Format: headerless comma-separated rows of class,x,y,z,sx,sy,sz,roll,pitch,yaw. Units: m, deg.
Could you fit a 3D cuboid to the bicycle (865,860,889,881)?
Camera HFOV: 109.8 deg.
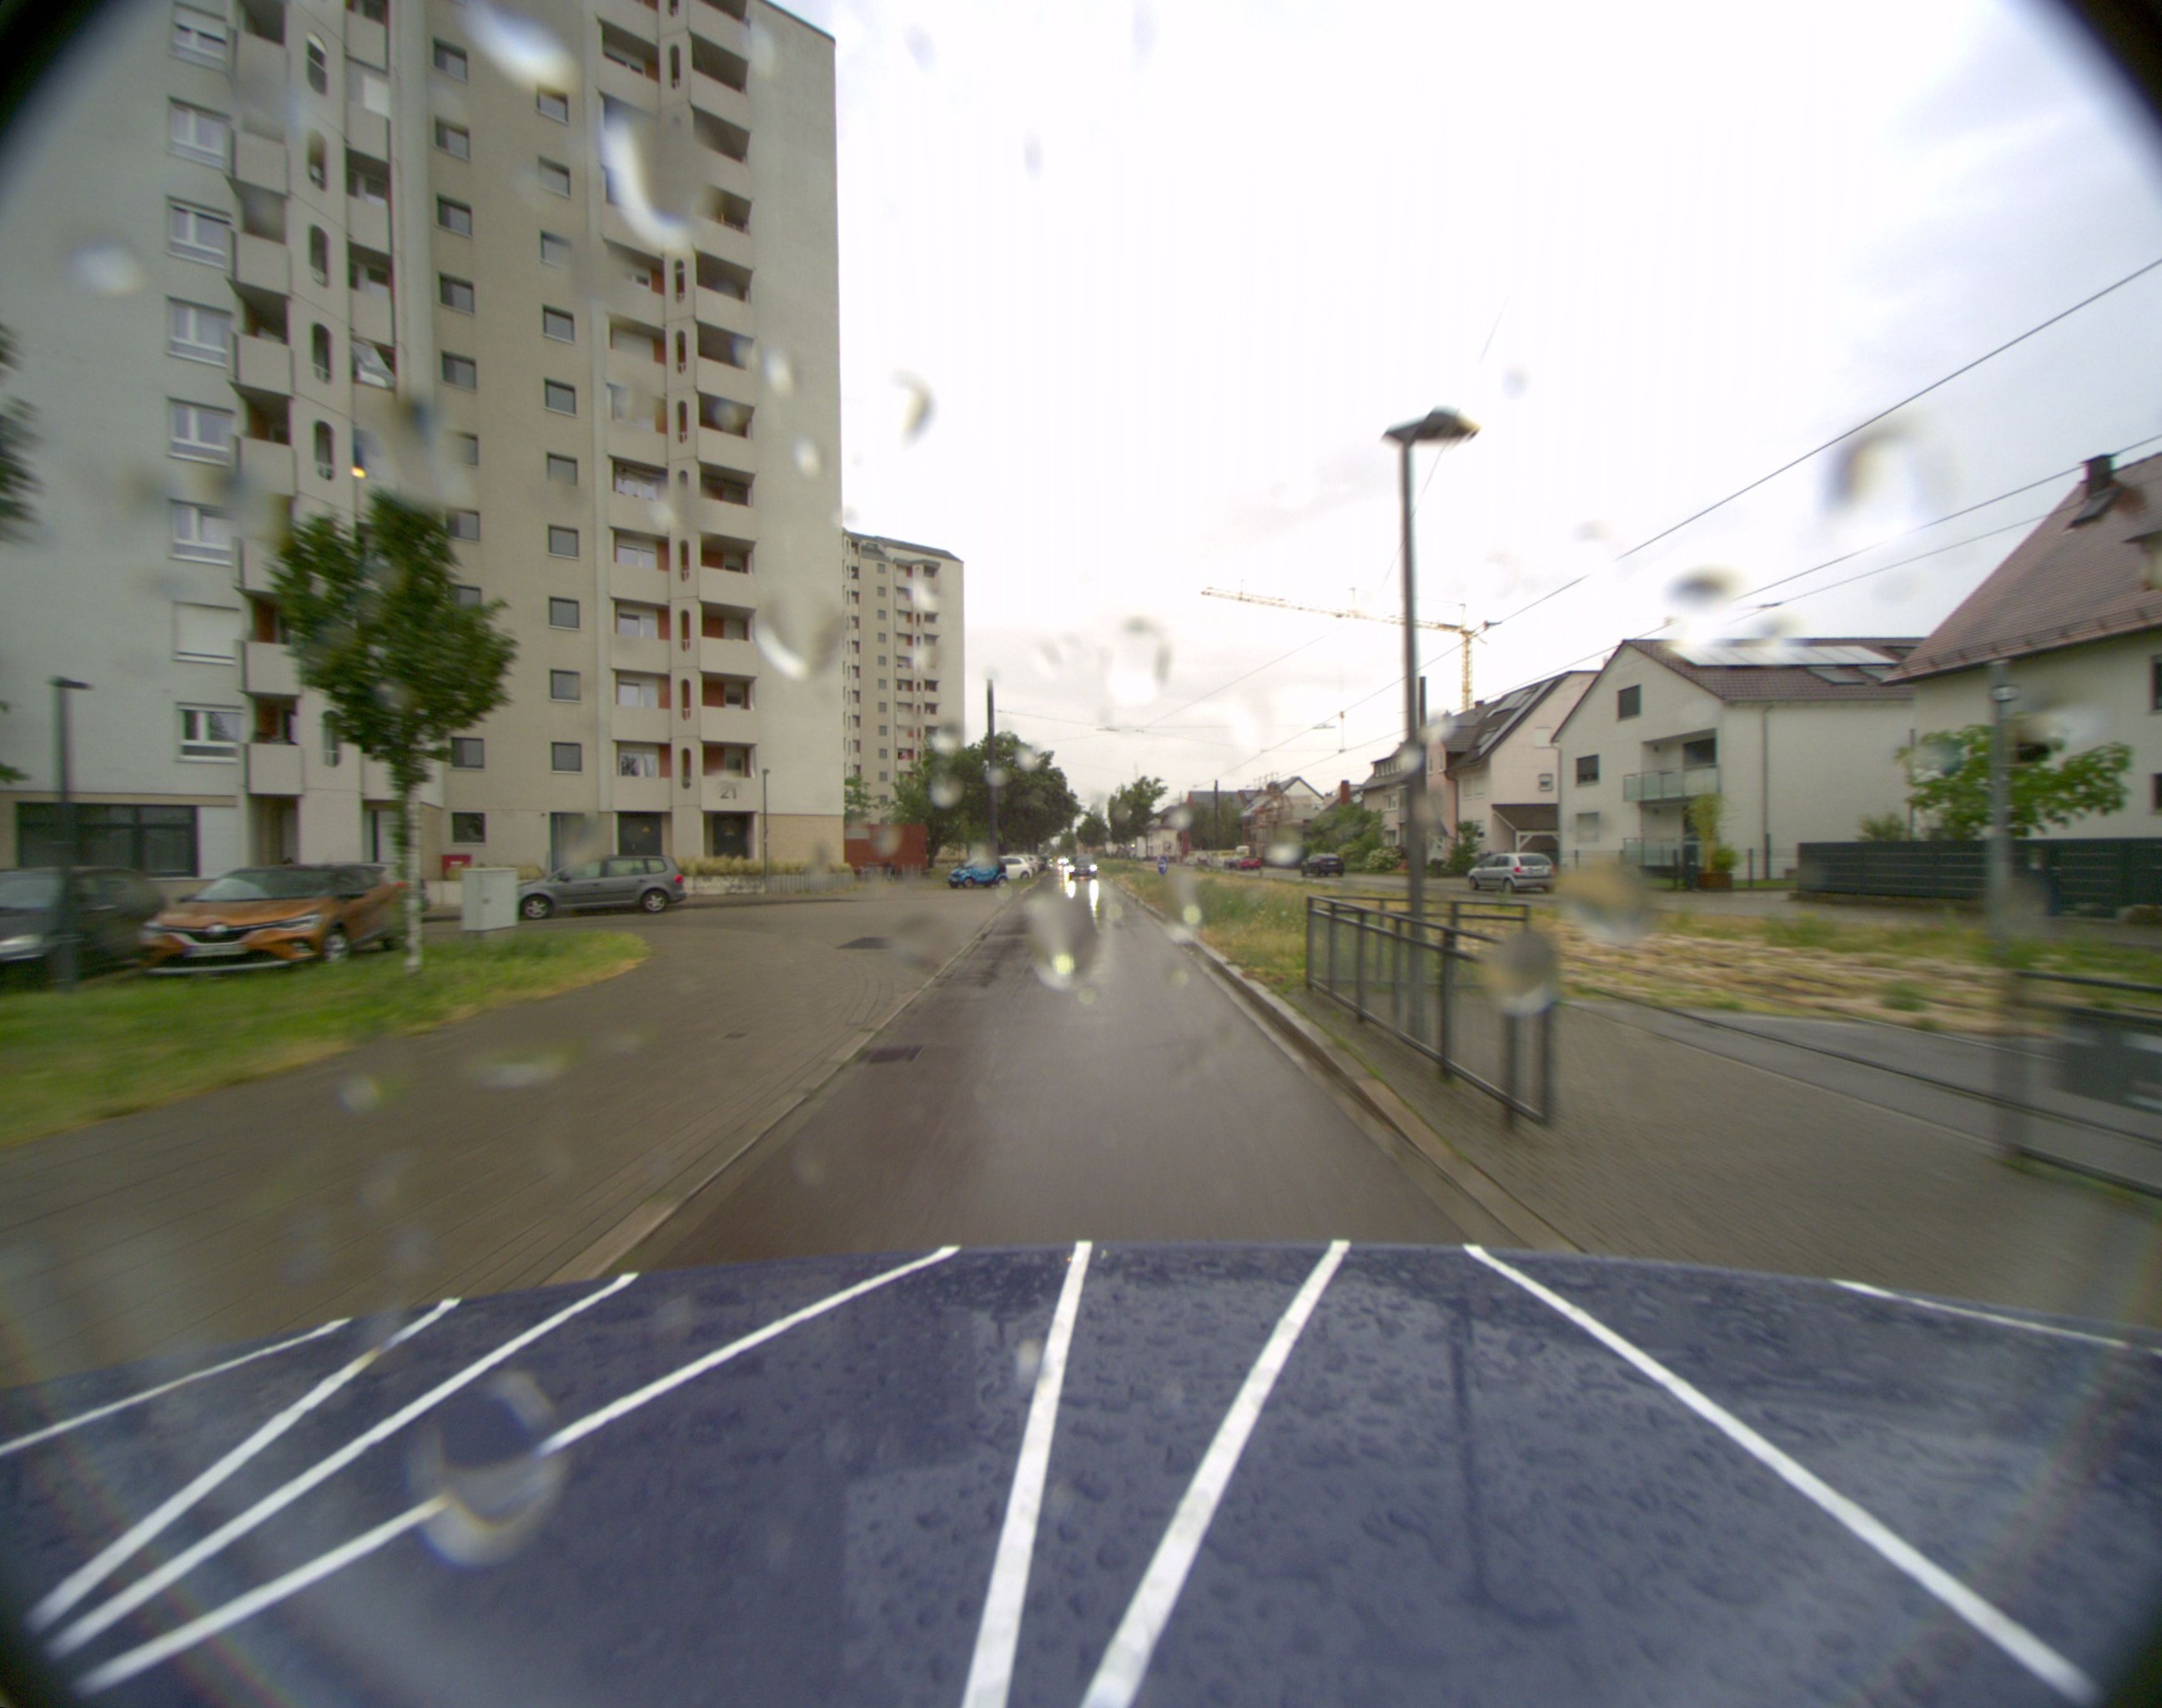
bicycle,-10.826,0.848,40.380,0.663,1.000,2.057,-2,1,0

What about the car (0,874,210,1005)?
car,-14.565,1.099,10.460,2.003,1.433,3.991,-2,2,-28

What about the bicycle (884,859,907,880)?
bicycle,-9.829,0.813,40.361,0.663,1.000,2.057,-2,1,0

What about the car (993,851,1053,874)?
car,-4.363,0.646,57.531,4.195,1.662,1.680,2,-1,-37

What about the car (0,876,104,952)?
car,-22.806,1.262,15.045,3.802,1.466,1.811,-2,0,-30

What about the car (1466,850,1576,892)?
car,16.693,0.607,29.068,1.999,1.406,3.656,-2,1,-2

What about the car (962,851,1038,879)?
car,-4.786,0.658,45.093,4.195,1.538,1.760,2,-1,-40

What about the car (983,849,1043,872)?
car,-5.321,0.499,59.784,4.471,1.662,1.808,2,-1,-39

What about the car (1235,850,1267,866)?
car,15.974,0.375,71.682,1.999,1.365,3.842,-2,1,-2

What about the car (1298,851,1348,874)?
car,16.112,0.532,50.821,1.841,1.418,4.173,-2,0,-2

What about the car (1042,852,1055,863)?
car,-5.607,0.541,131.331,1.998,1.696,3.999,-2,1,0

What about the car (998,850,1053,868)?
car,-4.811,0.426,66.179,4.470,1.419,1.680,2,-1,-34

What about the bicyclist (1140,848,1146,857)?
bicyclist,12.322,-0.288,150.920,0.956,1.575,1.399,-2,2,-2

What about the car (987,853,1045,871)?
car,-5.362,0.671,63.002,4.470,1.401,1.763,2,-1,-35

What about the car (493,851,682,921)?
car,-13.331,0.812,20.800,4.119,1.607,1.811,-2,0,-30

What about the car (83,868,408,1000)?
car,-12.167,1.022,11.502,2.003,1.433,3.991,-2,2,-28

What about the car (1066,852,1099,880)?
car,0.067,0.741,49.627,1.999,1.611,3.998,-2,1,-1

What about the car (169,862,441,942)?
car,-18.071,1.049,18.005,4.119,1.524,1.811,-2,0,-30

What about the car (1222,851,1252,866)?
car,15.764,0.449,76.806,1.999,1.401,4.174,-2,-1,-2

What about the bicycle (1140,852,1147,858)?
bicycle,12.362,0.196,150.348,0.937,1.037,3.433,0,1,-3

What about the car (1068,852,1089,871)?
car,-0.241,0.701,76.240,1.998,1.762,3.999,-2,1,0

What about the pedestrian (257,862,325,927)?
pedestrian,-19.605,0.978,18.886,0.839,1.509,1.092,-3,2,-29

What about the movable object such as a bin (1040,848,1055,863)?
movable object such as a bin,-3.616,0.150,82.339,1.165,1.553,1.372,-2,2,-24

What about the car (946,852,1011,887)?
car,-4.806,0.689,35.704,2.570,1.539,1.598,-1,1,-40
